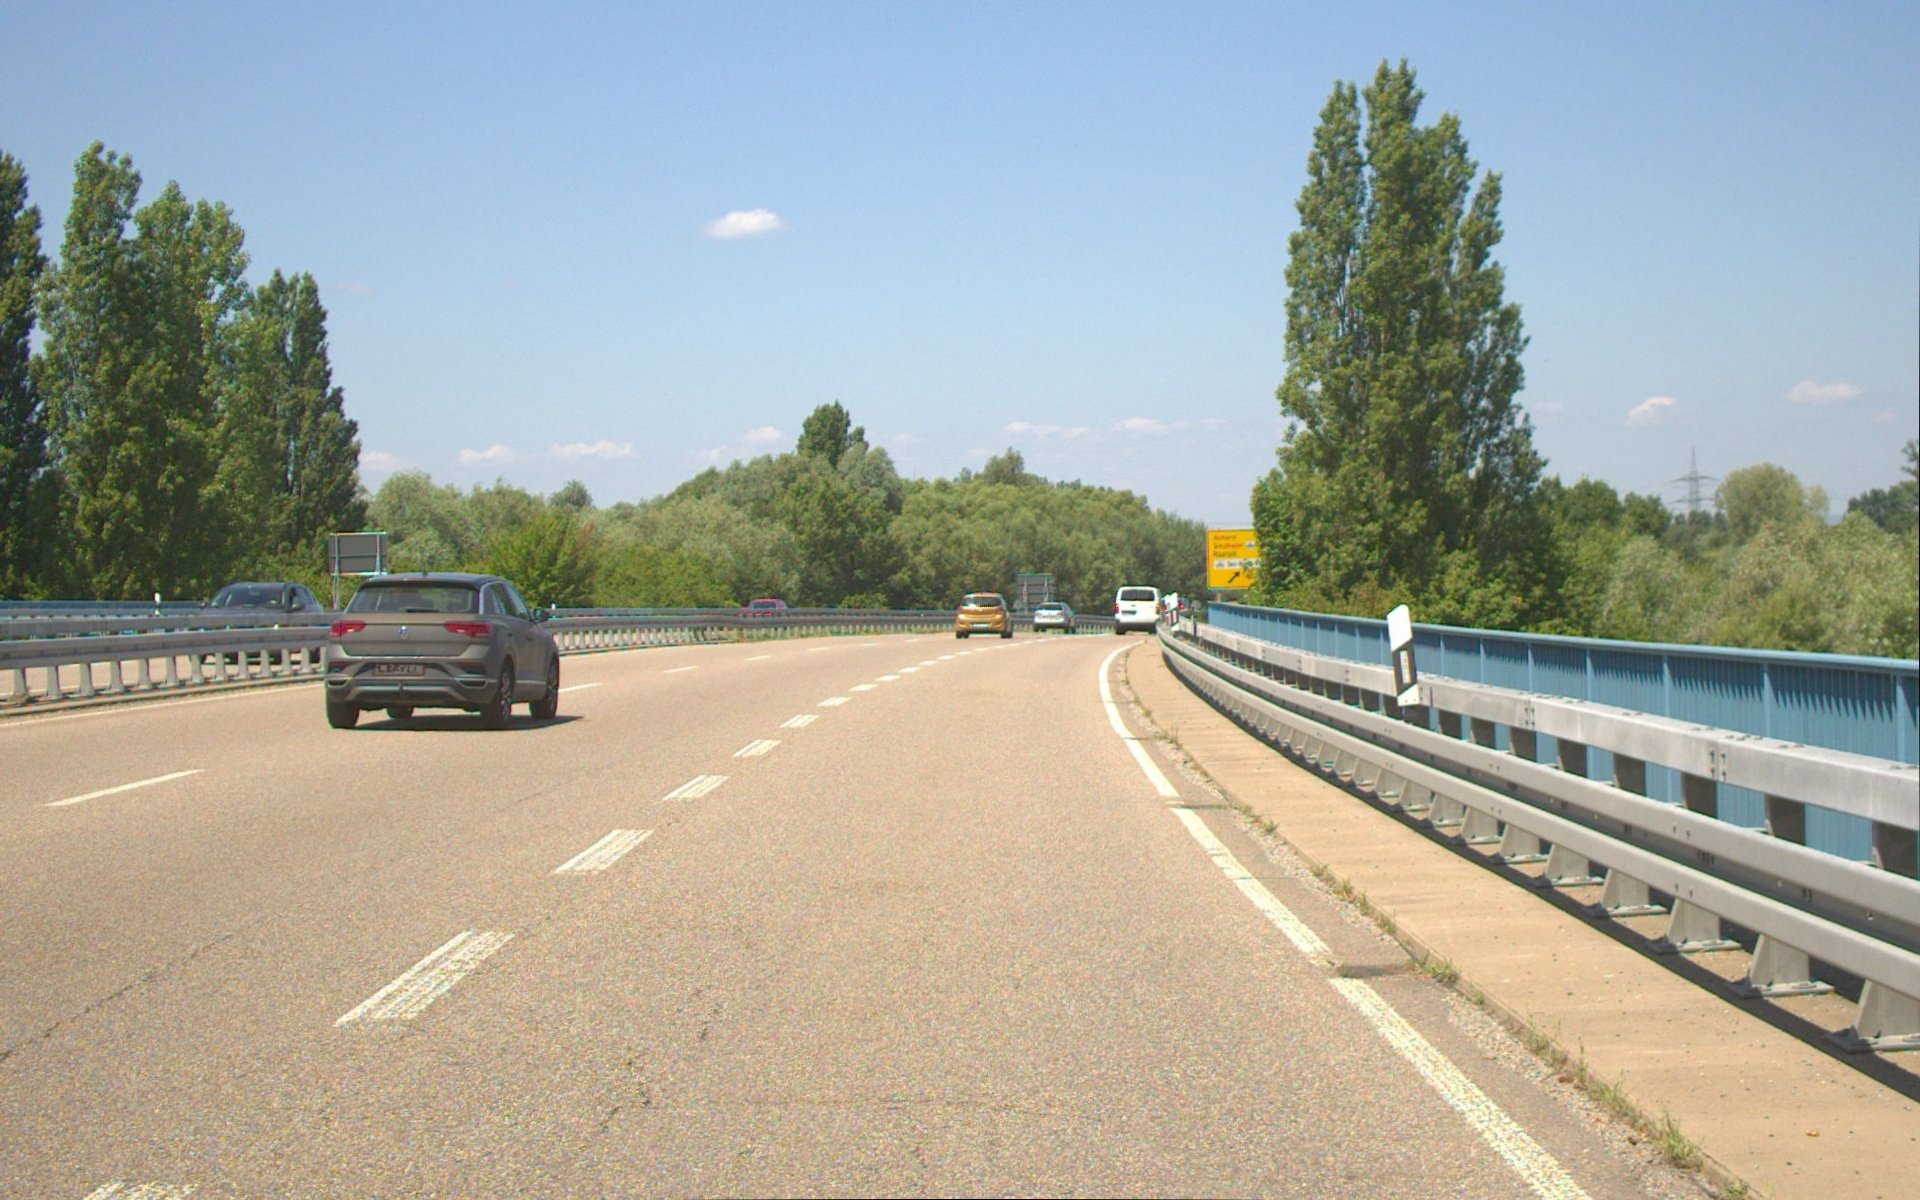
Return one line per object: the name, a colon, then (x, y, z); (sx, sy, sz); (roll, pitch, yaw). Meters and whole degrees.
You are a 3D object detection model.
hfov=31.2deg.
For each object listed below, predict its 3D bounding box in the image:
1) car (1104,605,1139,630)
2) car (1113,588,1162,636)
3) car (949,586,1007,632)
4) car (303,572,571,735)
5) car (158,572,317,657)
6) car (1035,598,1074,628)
car: (10.098, 1.090, 214.523); (1.944, 1.459, 3.999); (1, 1, 5)
car: (7.206, 0.469, 139.359); (1.841, 1.889, 3.999); (1, 1, 4)
car: (0.625, 0.282, 114.206); (1.841, 1.459, 4.000); (1, 1, 1)
car: (-5.286, 0.492, 35.304); (1.841, 1.524, 4.469); (1, 1, 3)
car: (-13.389, 0.238, 63.931); (1.904, 1.499, 4.684); (1, 1, 1)
car: (4.802, 0.665, 174.040); (1.841, 1.446, 4.000); (1, 1, 3)
